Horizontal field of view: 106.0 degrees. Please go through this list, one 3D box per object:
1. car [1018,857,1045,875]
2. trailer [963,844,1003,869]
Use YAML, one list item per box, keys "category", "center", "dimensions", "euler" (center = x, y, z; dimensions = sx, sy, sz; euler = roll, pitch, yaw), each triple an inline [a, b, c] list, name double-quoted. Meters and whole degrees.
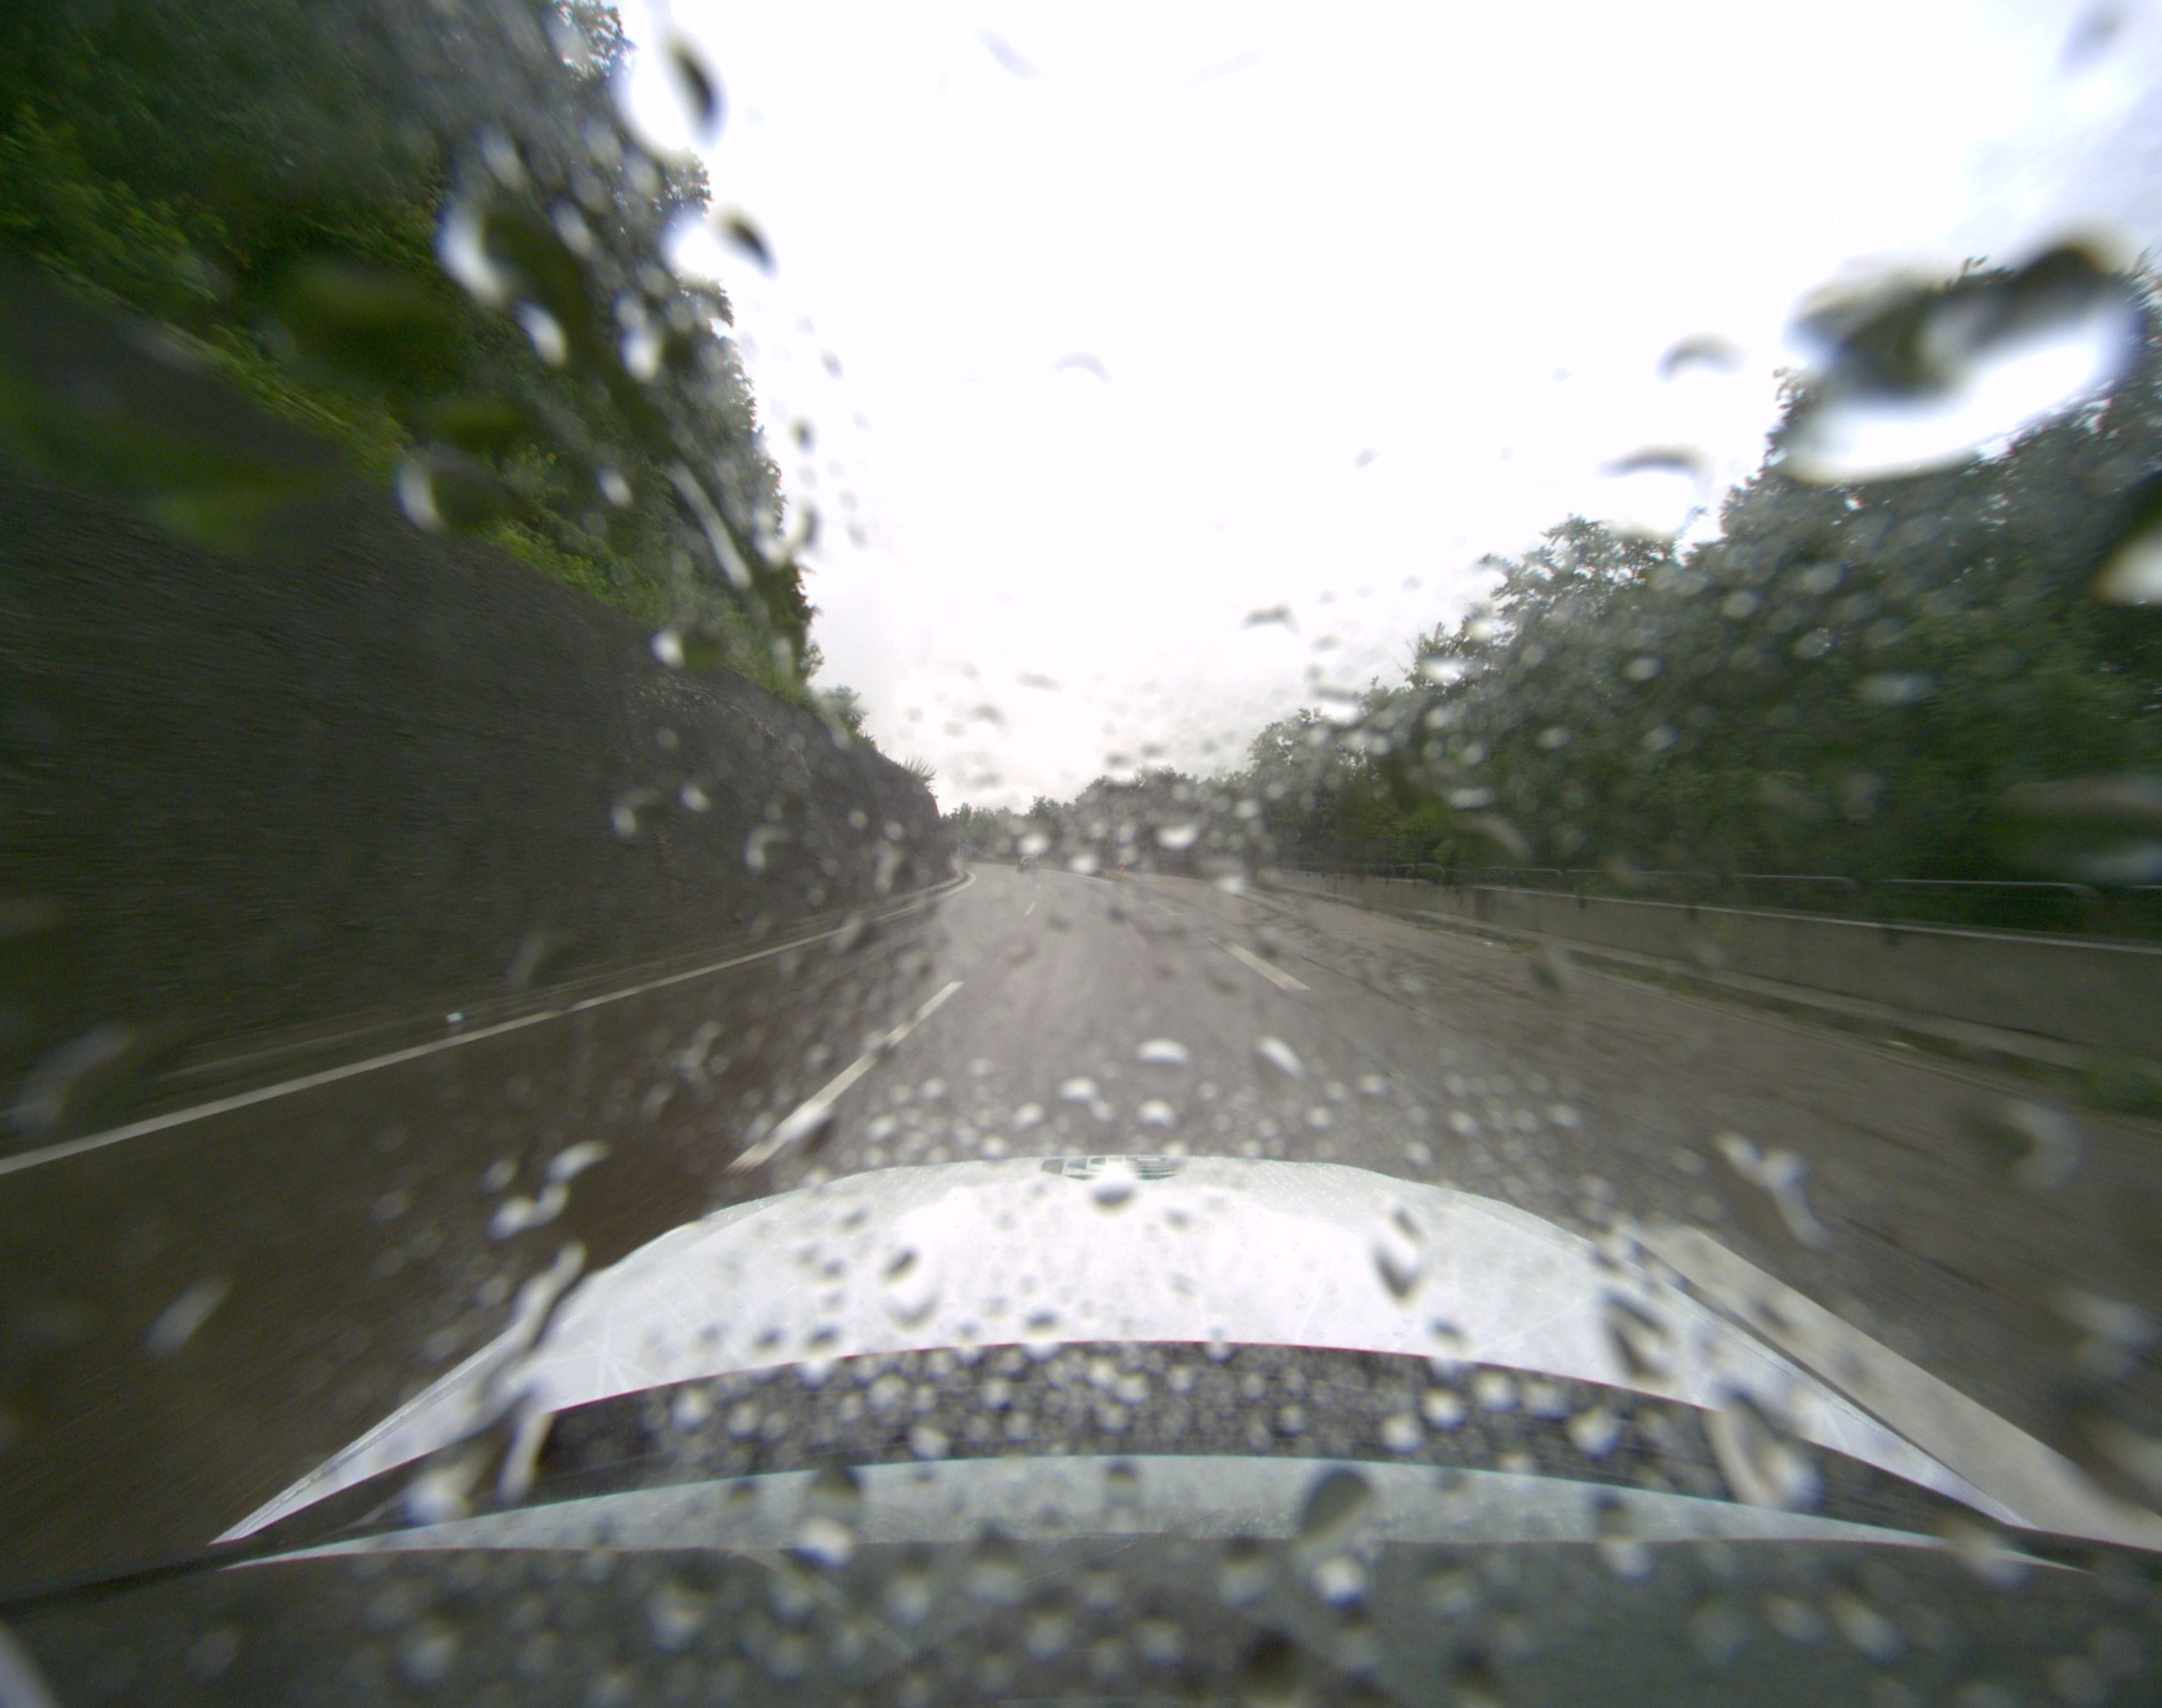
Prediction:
- category: "car"
  center: [-4.631, 1.112, 76.180]
  dimensions: [1.905, 1.499, 3.984]
  euler: [2, 0, -12]
- category: "trailer"
  center: [-17.812, 0.481, 146.852]
  dimensions: [2.905, 4.245, 14.581]
  euler: [0, 0, -24]
